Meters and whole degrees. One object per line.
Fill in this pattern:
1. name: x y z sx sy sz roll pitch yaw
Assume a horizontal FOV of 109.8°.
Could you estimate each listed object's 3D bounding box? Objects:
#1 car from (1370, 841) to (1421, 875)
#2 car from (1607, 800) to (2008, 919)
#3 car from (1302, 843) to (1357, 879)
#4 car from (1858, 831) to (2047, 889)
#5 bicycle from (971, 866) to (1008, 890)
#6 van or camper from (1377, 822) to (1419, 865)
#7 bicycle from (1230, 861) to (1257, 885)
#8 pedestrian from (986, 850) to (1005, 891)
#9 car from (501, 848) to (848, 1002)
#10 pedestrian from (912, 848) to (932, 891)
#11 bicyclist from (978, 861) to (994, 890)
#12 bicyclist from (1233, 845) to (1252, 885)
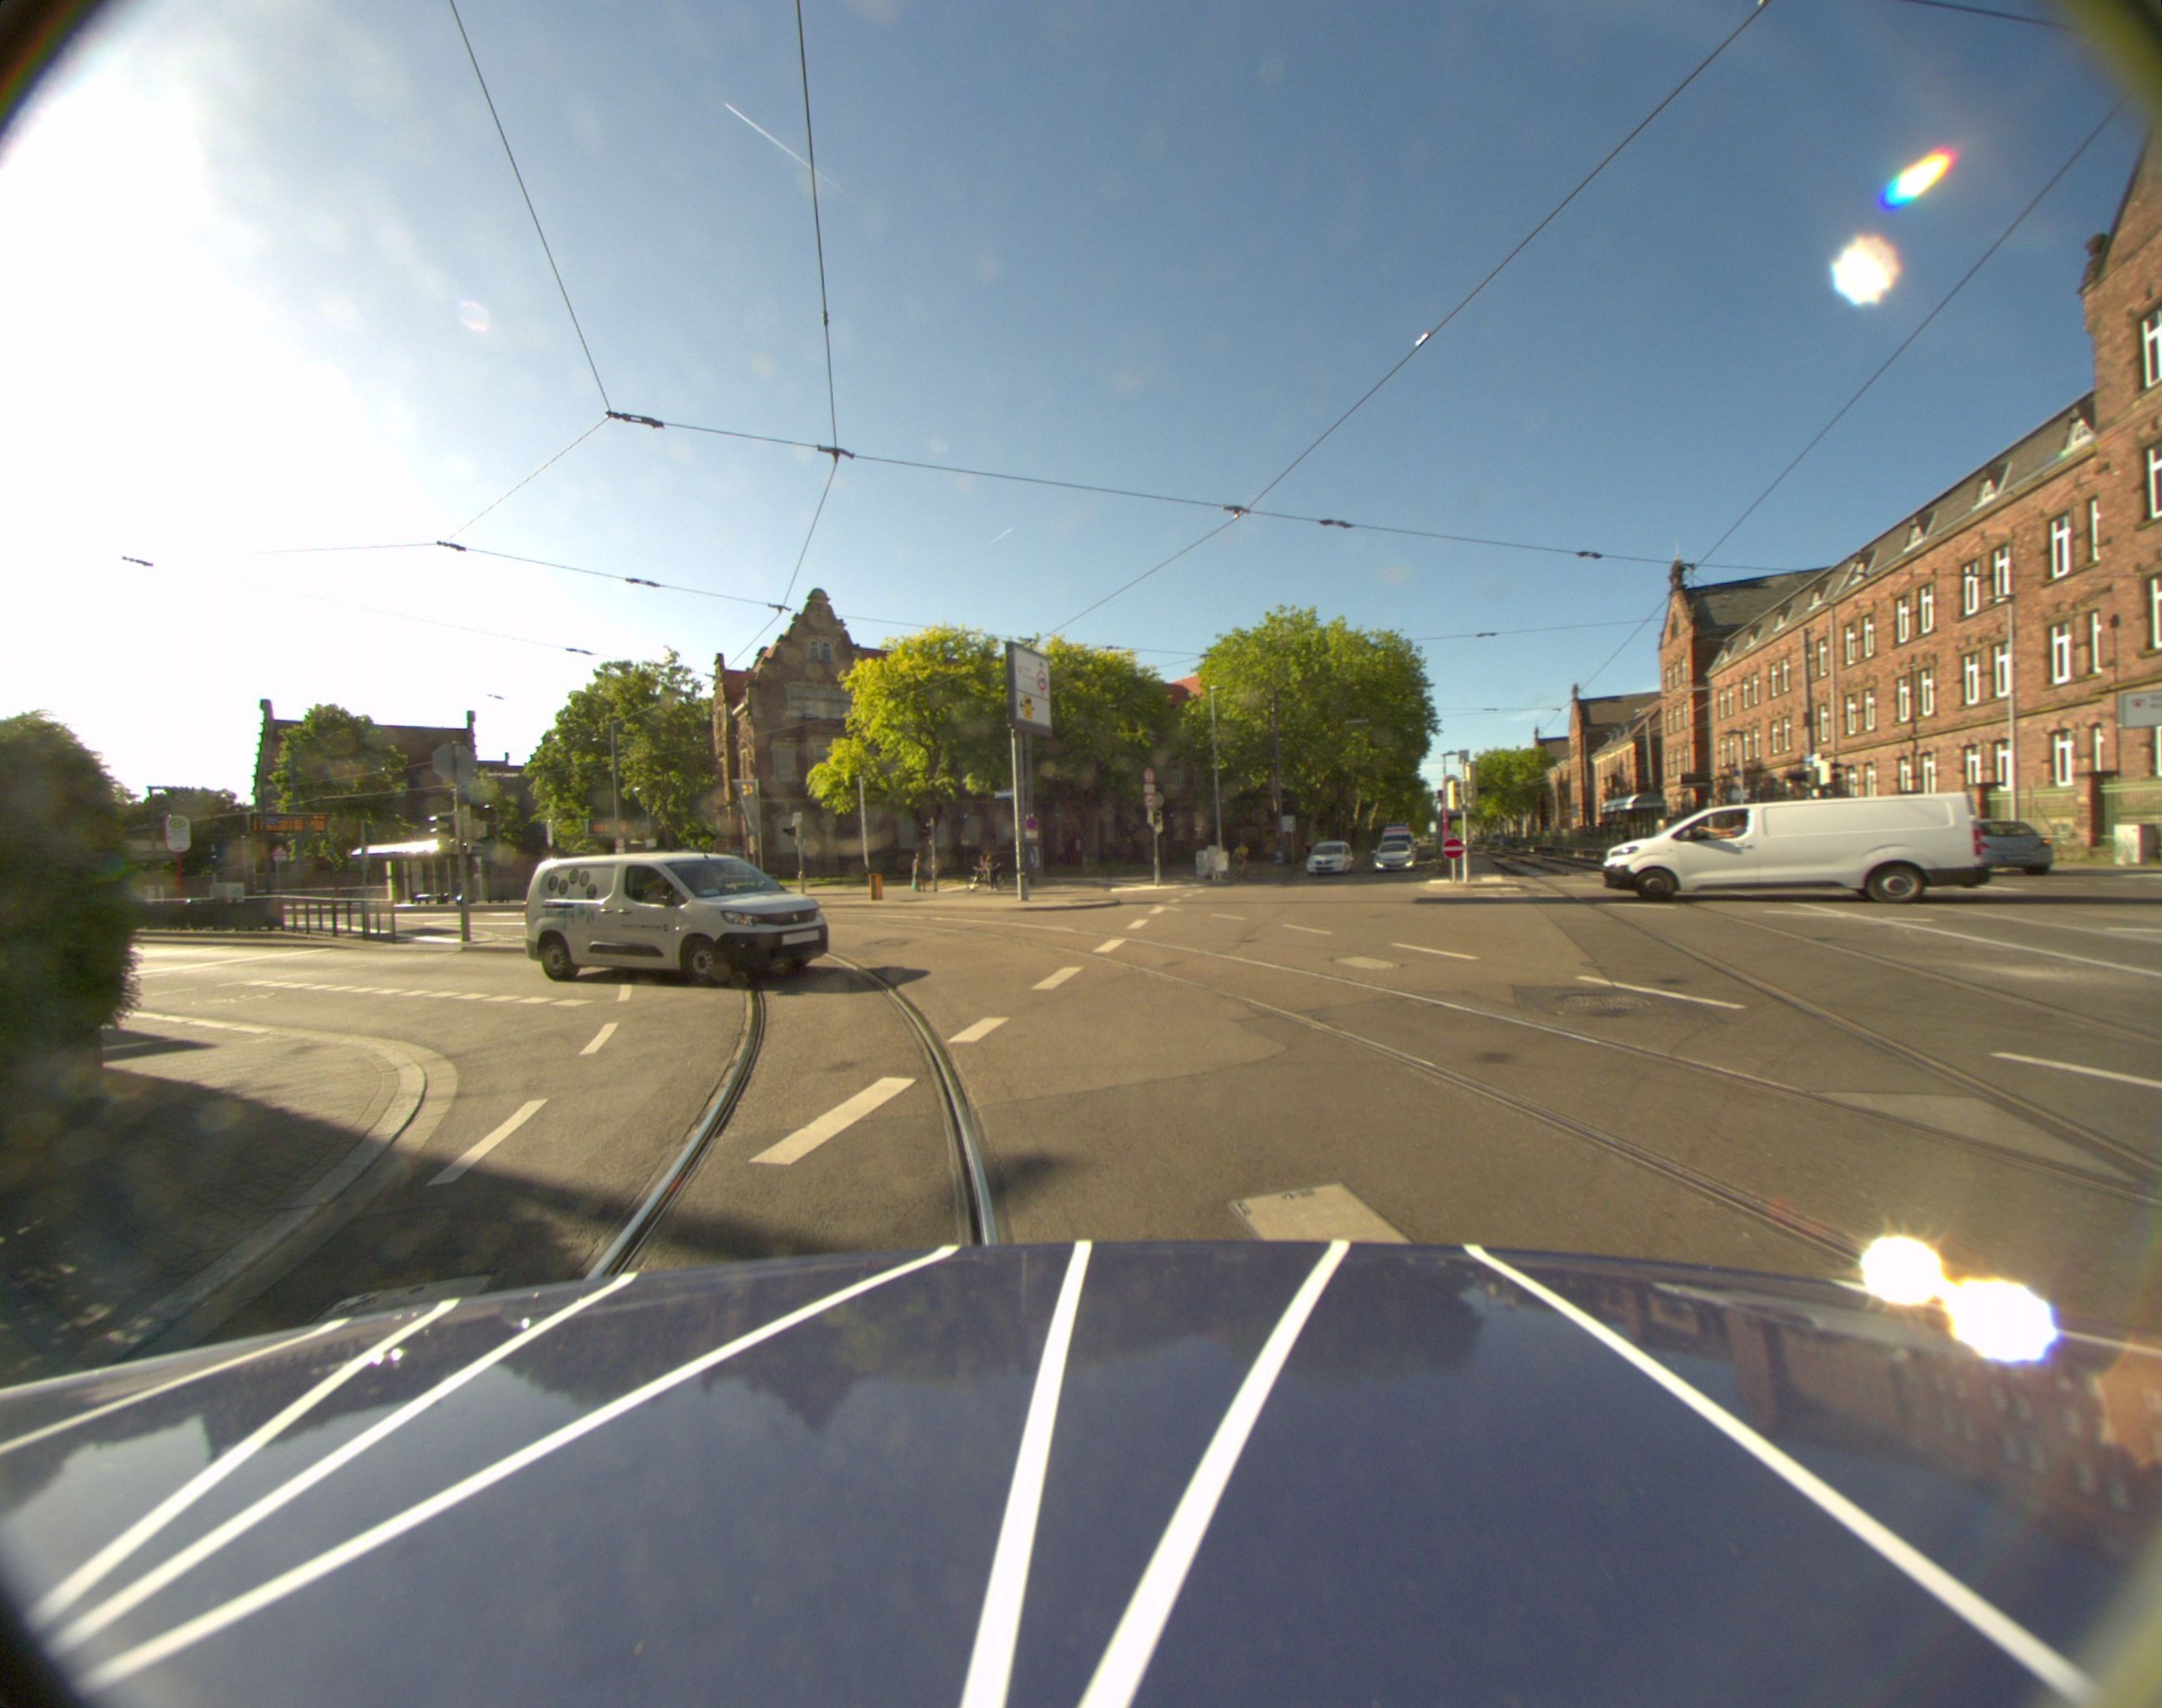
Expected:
1. car: 15.303 0.185 36.887 1.980 1.539 4.041 -2 0 26
2. car: 13.460 0.125 14.690 5.287 1.918 2.169 -2 0 38
3. car: 12.091 0.310 36.752 1.908 1.608 4.579 -2 -1 25
4. car: 23.910 0.136 21.082 1.738 1.434 4.121 -2 0 21
5. bicycle: -4.050 1.044 33.752 1.592 0.991 0.479 -2 1 -4
6. van or camper: 18.869 -0.545 45.094 1.995 2.346 5.609 -2 -1 25
7. bicycle: 7.097 0.815 33.077 0.689 1.027 2.103 -1 -1 26
8. pedestrian: -3.667 0.706 32.500 0.669 1.737 0.486 -2 1 5
9. car: -5.934 0.916 11.064 4.686 1.789 1.860 -1 3 24
10. pedestrian: -7.197 0.698 34.428 0.697 1.944 0.486 -2 1 5
11. bicyclist: -4.201 0.946 33.743 0.619 1.277 0.478 -2 1 -4
12. bicyclist: 7.017 0.472 32.918 0.668 1.719 0.624 -1 -1 25
